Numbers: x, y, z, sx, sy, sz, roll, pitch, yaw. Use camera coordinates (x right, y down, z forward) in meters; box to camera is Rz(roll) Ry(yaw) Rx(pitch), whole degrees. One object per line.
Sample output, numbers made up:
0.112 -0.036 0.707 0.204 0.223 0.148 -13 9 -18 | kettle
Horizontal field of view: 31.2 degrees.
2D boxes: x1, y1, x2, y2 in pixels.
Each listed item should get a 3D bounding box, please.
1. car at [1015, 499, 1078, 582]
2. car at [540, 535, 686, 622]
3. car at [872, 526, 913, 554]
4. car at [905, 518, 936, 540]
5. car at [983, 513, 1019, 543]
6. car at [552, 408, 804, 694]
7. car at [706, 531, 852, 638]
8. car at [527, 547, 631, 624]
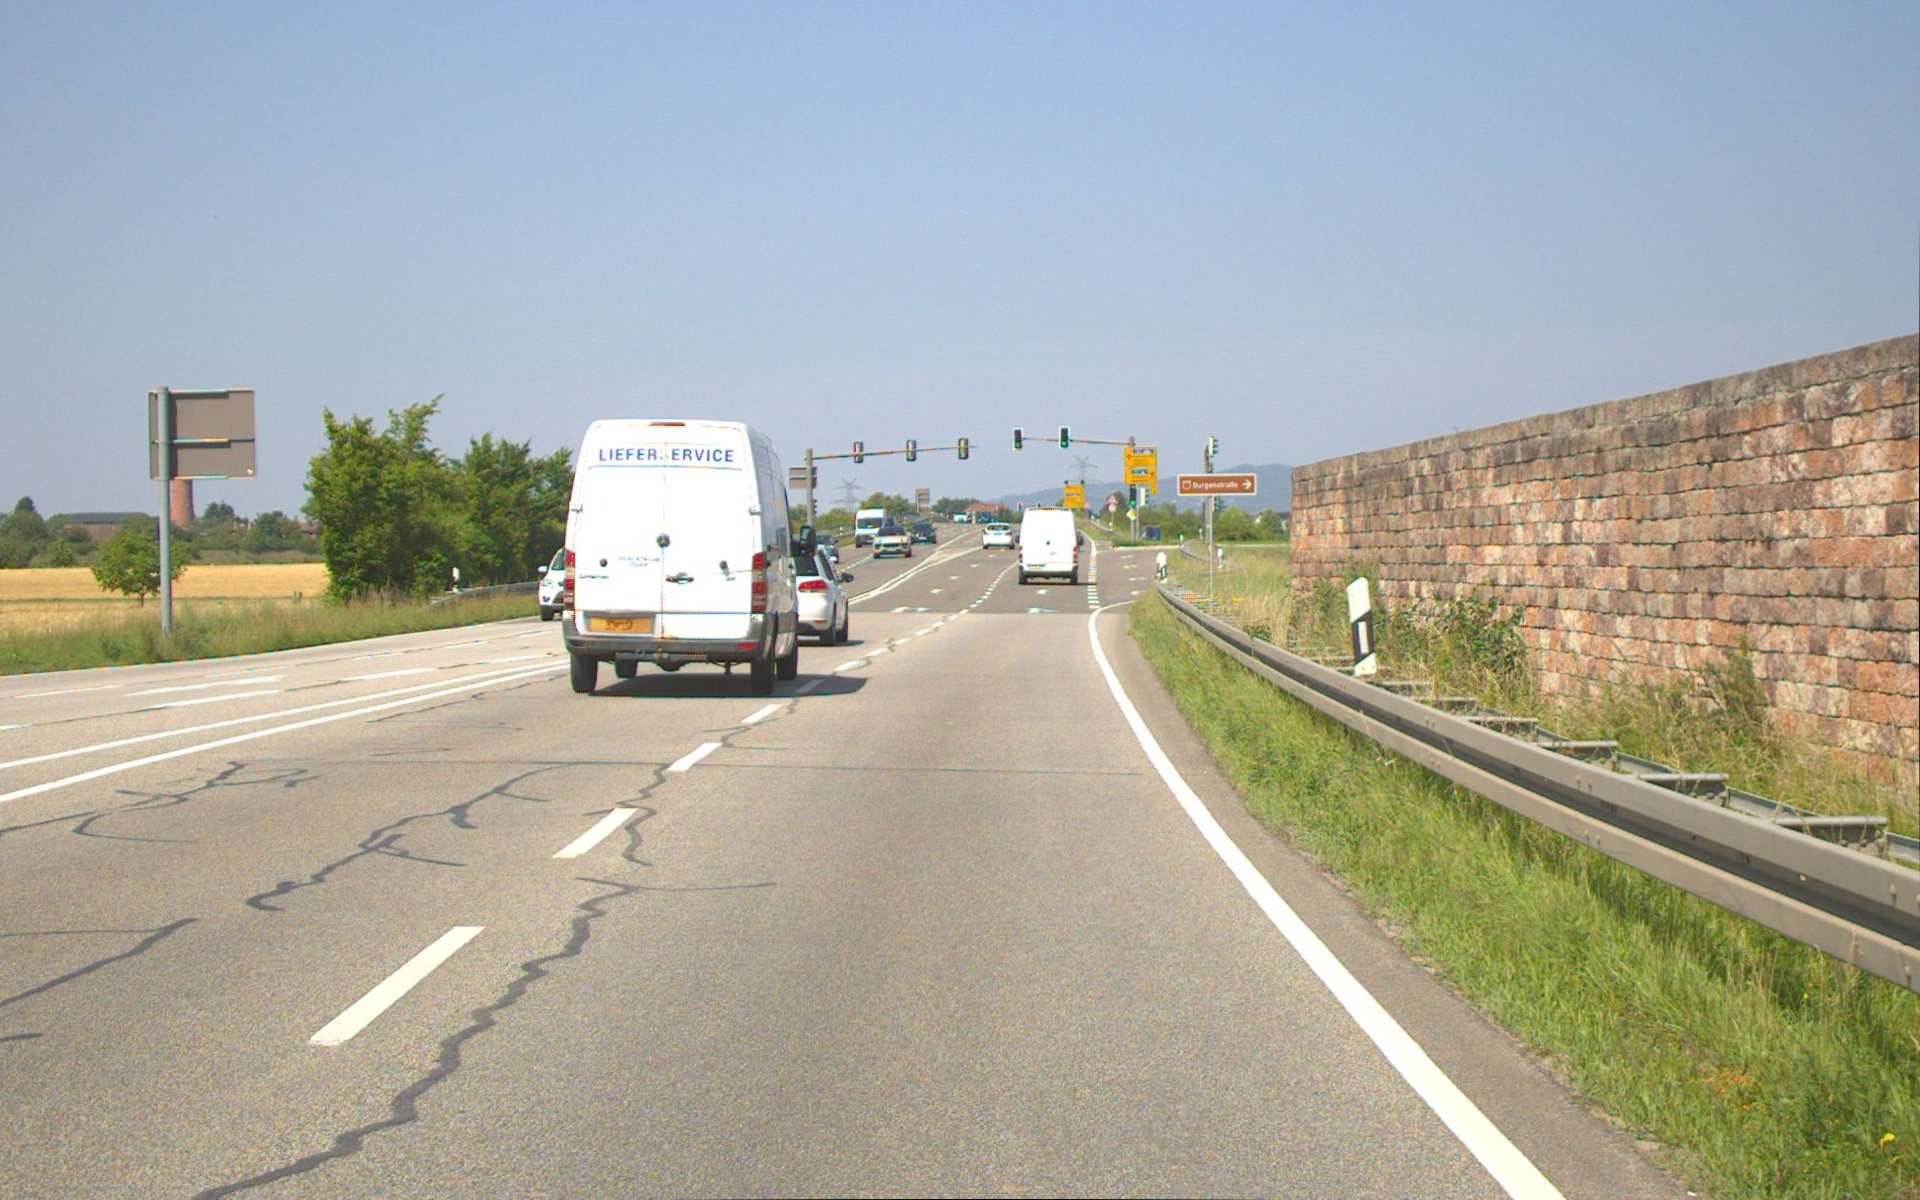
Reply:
2.927 -2.004 115.885 1.993 2.686 4.969 -1 1 2 | car
-6.093 -0.403 60.837 1.759 1.452 4.230 0 1 6 | car
-3.612 -3.232 184.924 1.857 1.418 4.000 -1 1 3 | car
-2.696 -4.878 236.901 1.857 1.418 4.000 0 0 3 | car
2.465 -4.252 204.073 1.994 1.697 4.275 1 0 2 | car
-2.765 -0.501 34.982 2.039 2.611 5.741 2 1 0 | car
-2.664 -0.256 51.497 1.799 1.503 4.196 -1 1 2 | car
-8.710 -0.352 78.916 1.665 1.671 4.462 -1 1 3 | car
